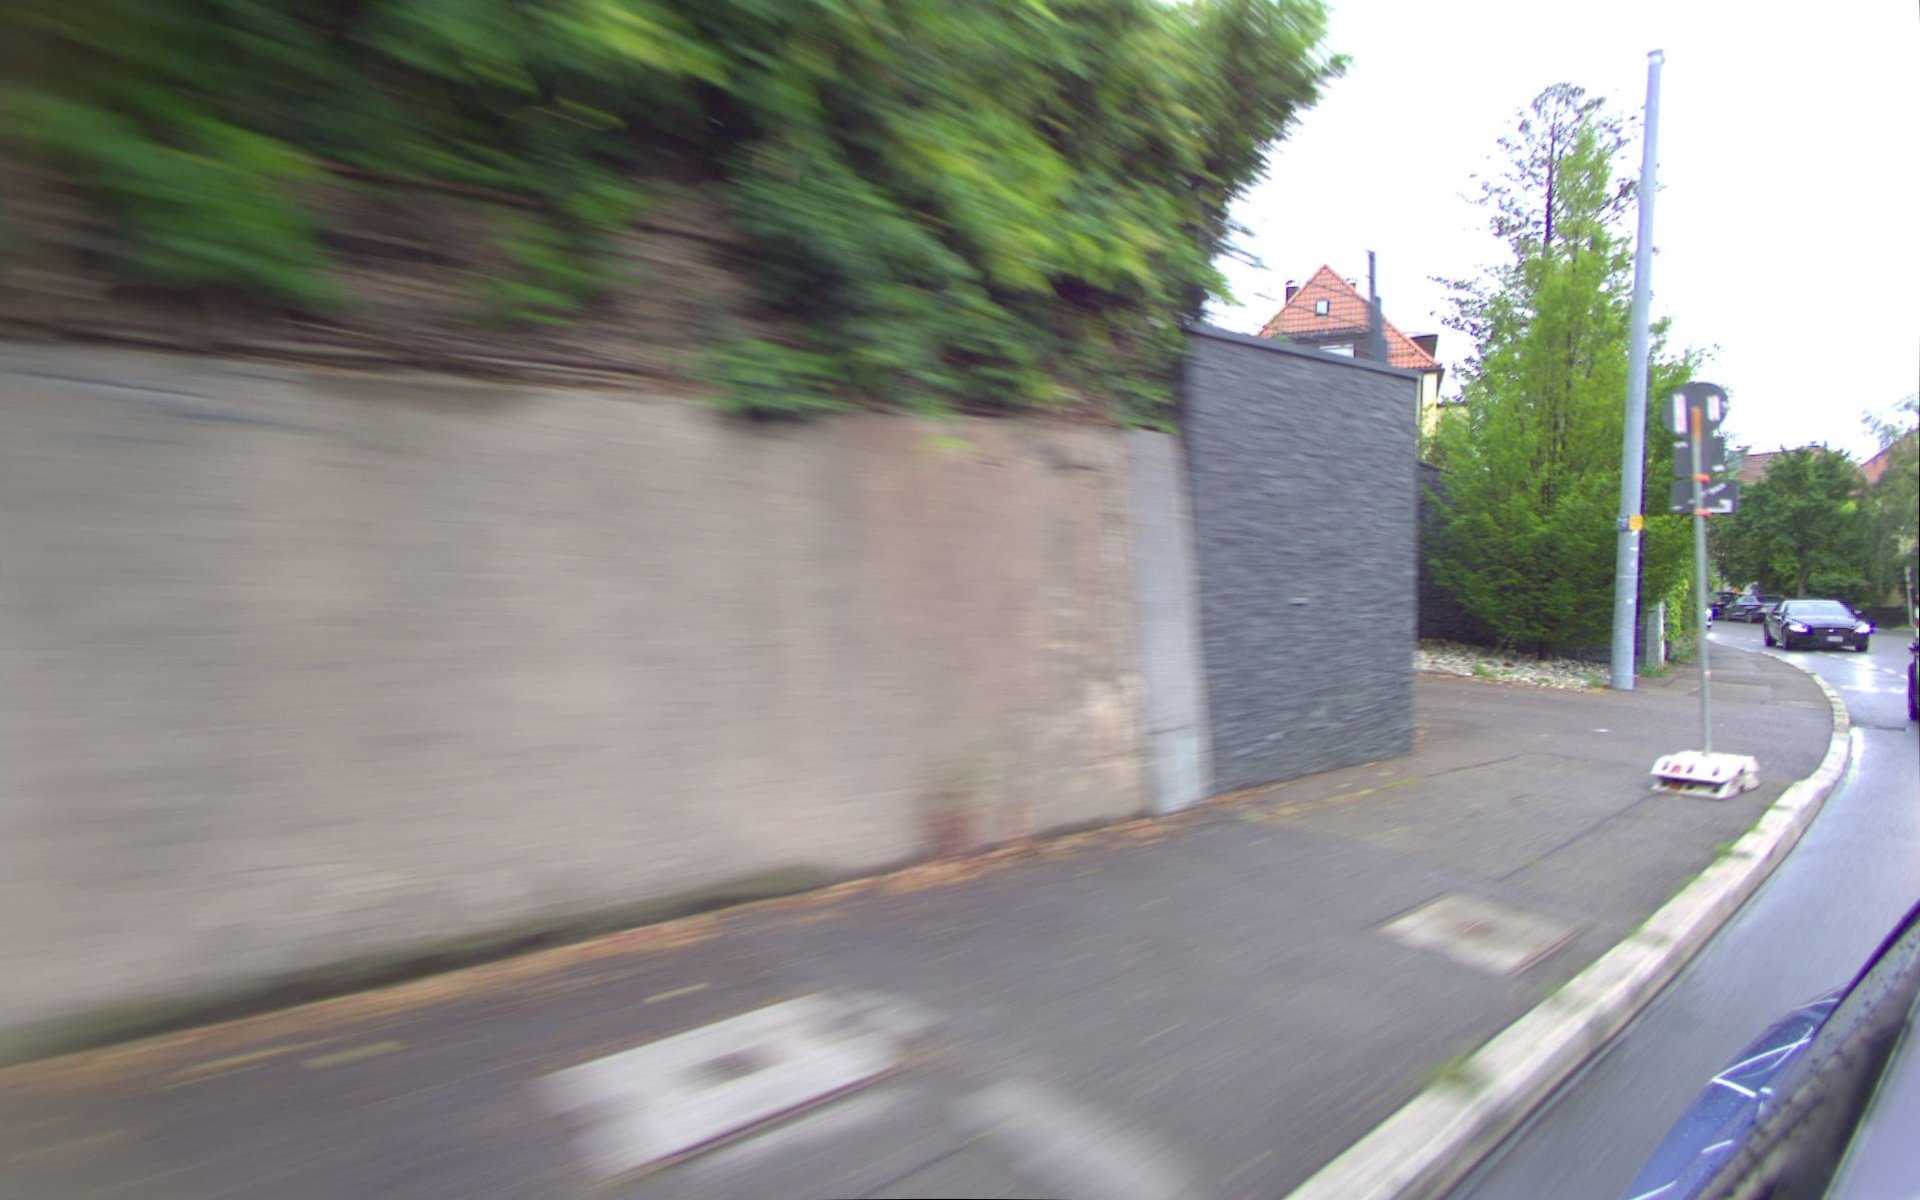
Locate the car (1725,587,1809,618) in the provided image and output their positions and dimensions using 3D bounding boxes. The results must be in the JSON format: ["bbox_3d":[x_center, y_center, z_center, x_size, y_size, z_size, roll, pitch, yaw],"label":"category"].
[{"bbox_3d":[41.027,0.099,51.568,1.688,1.400,4.507,-2,1,16],"label":"car"}]

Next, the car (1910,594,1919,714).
[{"bbox_3d":[12.113,0.663,11.483,1.740,1.460,4.295,0,0,41],"label":"car"}]

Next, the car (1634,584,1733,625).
[{"bbox_3d":[33.190,0.137,46.594,1.989,1.760,4.582,1,1,12],"label":"car"}]

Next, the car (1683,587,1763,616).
[{"bbox_3d":[42.212,0.063,56.138,1.711,1.502,4.515,-2,1,11],"label":"car"}]
